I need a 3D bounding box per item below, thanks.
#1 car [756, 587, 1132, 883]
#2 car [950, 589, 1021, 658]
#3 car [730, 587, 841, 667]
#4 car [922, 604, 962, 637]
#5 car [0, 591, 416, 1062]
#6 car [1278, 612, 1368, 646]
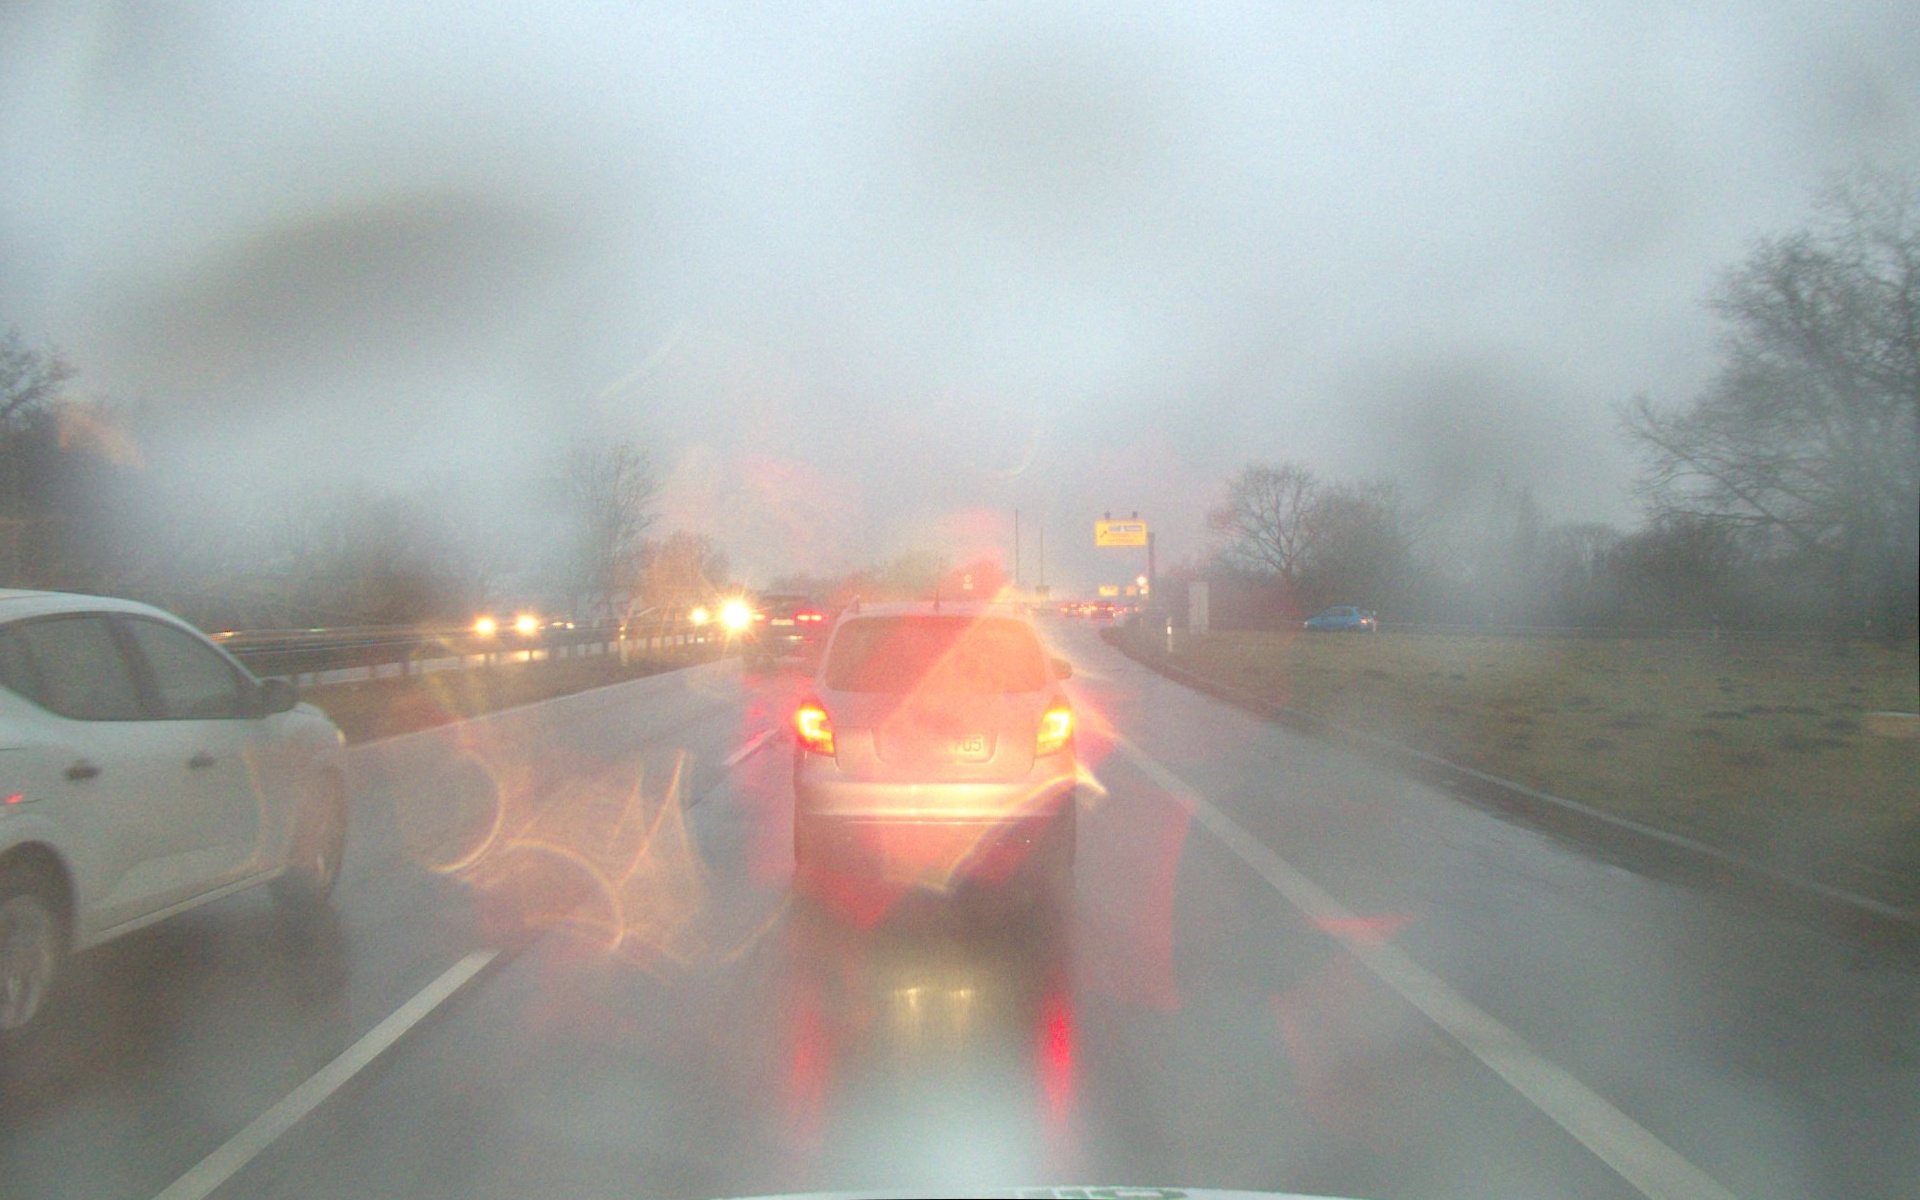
[{"bbox_3d":[-0.049,0.720,10.686,1.952,1.527,4.138,0,-1,1],"label":"car"},{"bbox_3d":[0.751,0.617,45.651,1.858,1.798,4.309,-1,0,2],"label":"car"},{"bbox_3d":[-3.799,0.569,36.722,1.952,1.629,4.308,1,0,0],"label":"car"},{"bbox_3d":[-0.872,0.975,80.422,1.752,1.572,4.001,-1,0,2],"label":"car"},{"bbox_3d":[-3.787,0.718,6.622,1.688,1.465,4.227,-1,0,2],"label":"car"},{"bbox_3d":[17.174,1.366,78.418,1.777,1.572,3.944,0,0,-38],"label":"car"}]
